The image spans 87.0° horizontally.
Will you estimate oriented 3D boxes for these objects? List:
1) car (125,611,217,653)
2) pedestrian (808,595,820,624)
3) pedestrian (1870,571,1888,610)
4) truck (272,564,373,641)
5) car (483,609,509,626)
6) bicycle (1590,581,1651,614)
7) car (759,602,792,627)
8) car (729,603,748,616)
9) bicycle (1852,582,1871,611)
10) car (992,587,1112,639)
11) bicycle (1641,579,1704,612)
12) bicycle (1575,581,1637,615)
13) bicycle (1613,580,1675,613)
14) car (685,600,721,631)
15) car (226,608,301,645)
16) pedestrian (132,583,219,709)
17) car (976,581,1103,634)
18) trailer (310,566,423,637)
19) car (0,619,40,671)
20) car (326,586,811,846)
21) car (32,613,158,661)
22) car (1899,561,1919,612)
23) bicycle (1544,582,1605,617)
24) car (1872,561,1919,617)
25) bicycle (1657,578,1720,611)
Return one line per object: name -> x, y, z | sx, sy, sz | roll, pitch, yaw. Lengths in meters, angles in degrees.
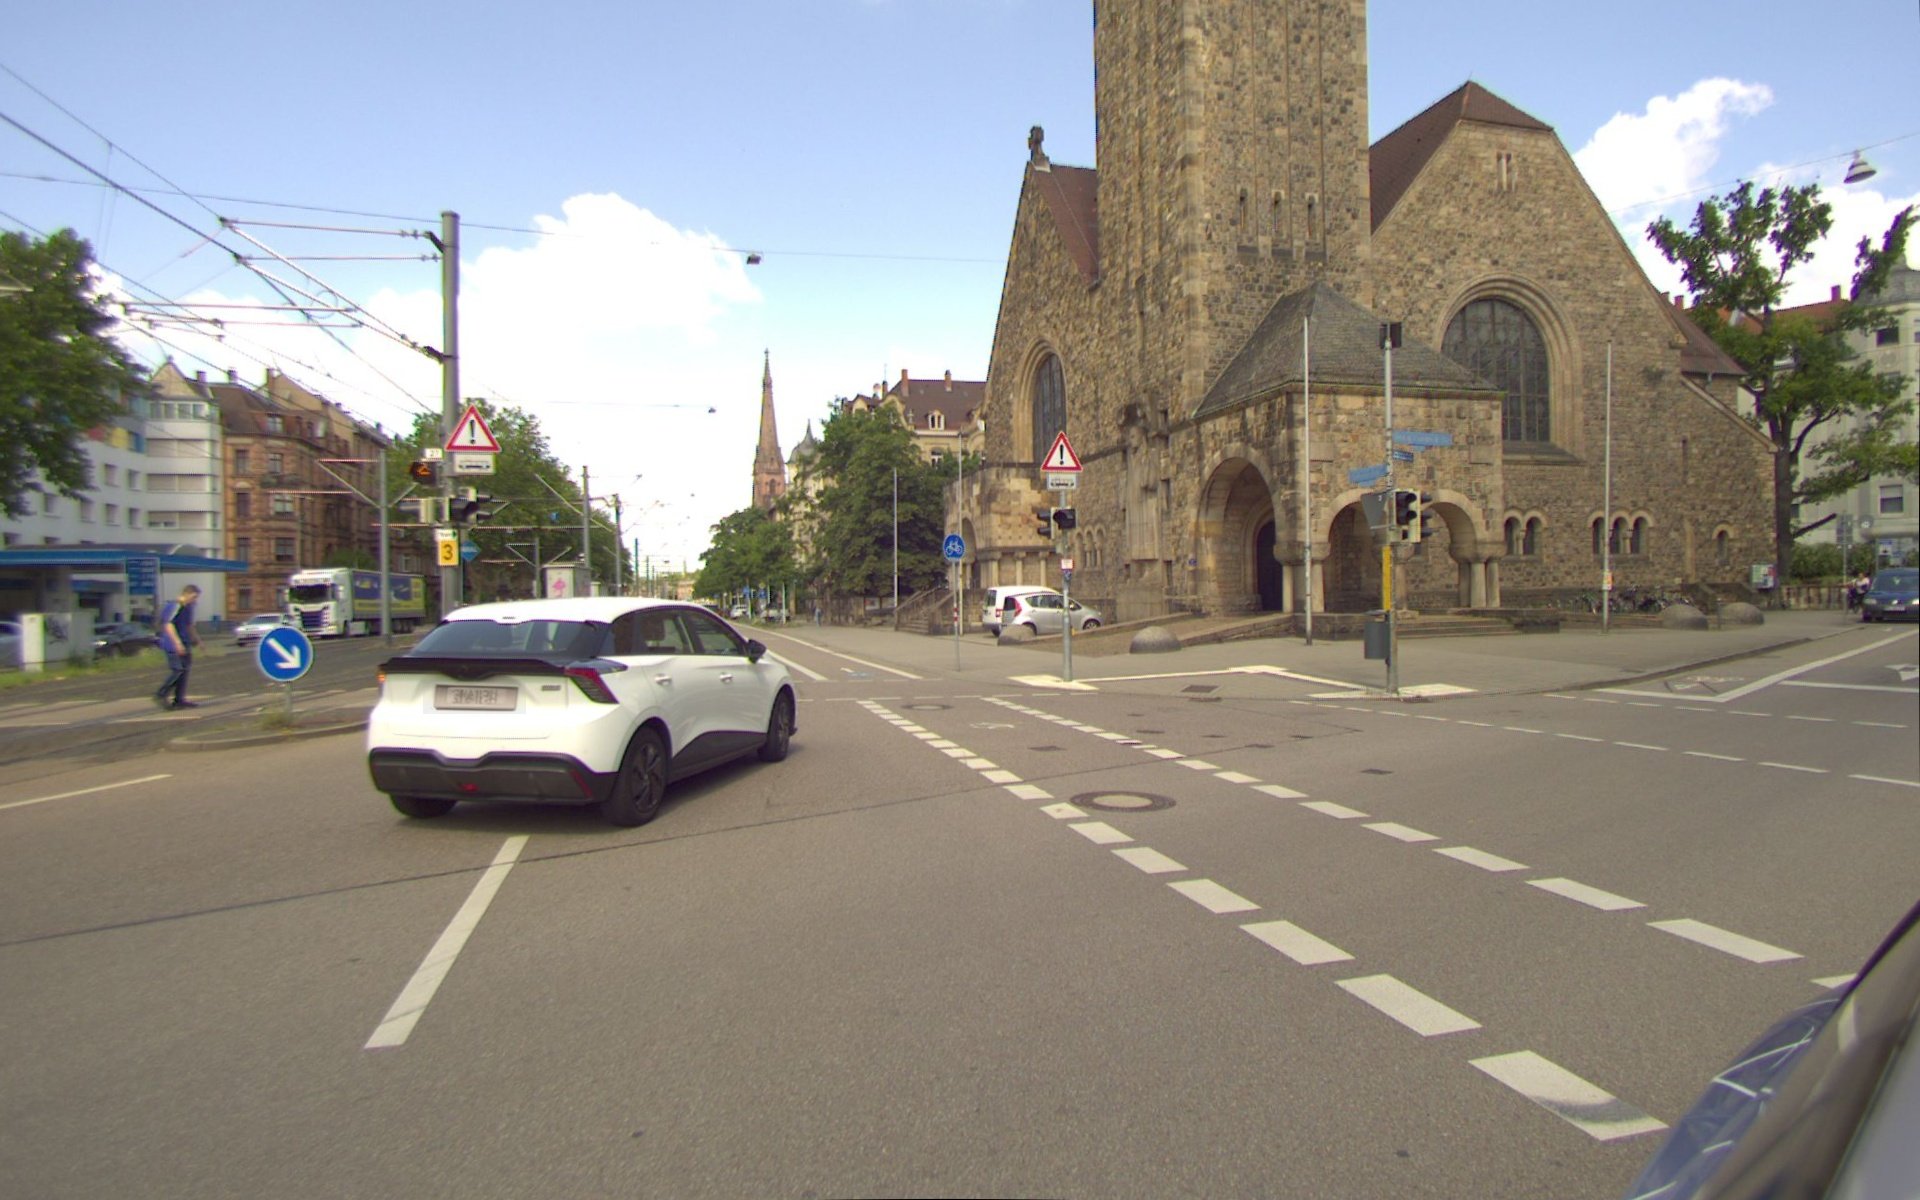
car -> -32.455, 1.264, 41.747 | 1.651, 1.583, 3.760 | -1, 0, -15
pedestrian -> -8.693, 0.568, 60.209 | 0.645, 1.686, 0.847 | -1, 0, -13
pedestrian -> 35.411, -0.369, 39.009 | 0.465, 1.474, 0.547 | -2, 0, 45
truck -> -37.033, 0.101, 59.053 | 2.857, 4.201, 6.603 | -2, 1, -12
car -> -49.198, 1.859, 107.404 | 1.766, 1.651, 4.008 | -2, 1, -15
bicycle -> 24.323, -0.110, 37.309 | 0.574, 1.125, 1.944 | -2, 3, -19
car -> -12.078, 0.905, 66.097 | 1.752, 1.514, 3.845 | -2, 0, -15
car -> -22.146, 0.936, 101.221 | 1.621, 1.249, 3.069 | -2, 0, -15
bicycle -> 35.092, -0.139, 39.397 | 0.479, 1.065, 1.420 | -2, 0, 44
car -> 3.081, 0.445, 34.001 | 3.561, 1.700, 1.822 | 0, -2, -18
bicycle -> 26.725, -0.190, 37.994 | 0.574, 1.125, 1.944 | -2, 3, -19
bicycle -> 23.654, -0.088, 37.099 | 0.574, 1.125, 1.944 | -2, 3, -19
bicycle -> 25.296, -0.141, 37.466 | 0.574, 1.125, 1.944 | -2, 3, -19
car -> -13.735, 0.814, 53.957 | 1.747, 1.554, 4.395 | -1, 0, -15
car -> -35.338, 1.304, 51.452 | 1.816, 1.727, 4.142 | -1, 0, -14
pedestrian -> -11.331, 0.639, 14.647 | 0.756, 1.753, 0.745 | -1, 0, -16
car -> 2.926, 0.298, 37.476 | 4.214, 1.878, 2.003 | 0, -2, -16
trailer -> -38.693, 0.042, 66.547 | 2.857, 4.128, 11.673 | -2, 1, -13
car -> -28.684, 1.335, 28.956 | 1.698, 1.484, 4.336 | -1, 0, -15
car -> -2.698, 0.654, 8.128 | 1.791, 1.525, 4.119 | 0, 1, 10
car -> -30.714, 1.264, 36.100 | 1.816, 1.464, 3.981 | -1, 1, -14
car -> 36.116, -0.522, 37.303 | 3.929, 1.813, 1.682 | -1, 0, -40
bicycle -> 22.199, -0.038, 36.584 | 0.574, 1.125, 1.944 | -2, 3, -19
car -> 32.248, -0.401, 34.069 | 4.071, 1.813, 1.682 | -1, 0, -40
bicycle -> 27.485, -0.215, 38.200 | 0.574, 1.125, 1.944 | -2, 3, -19
